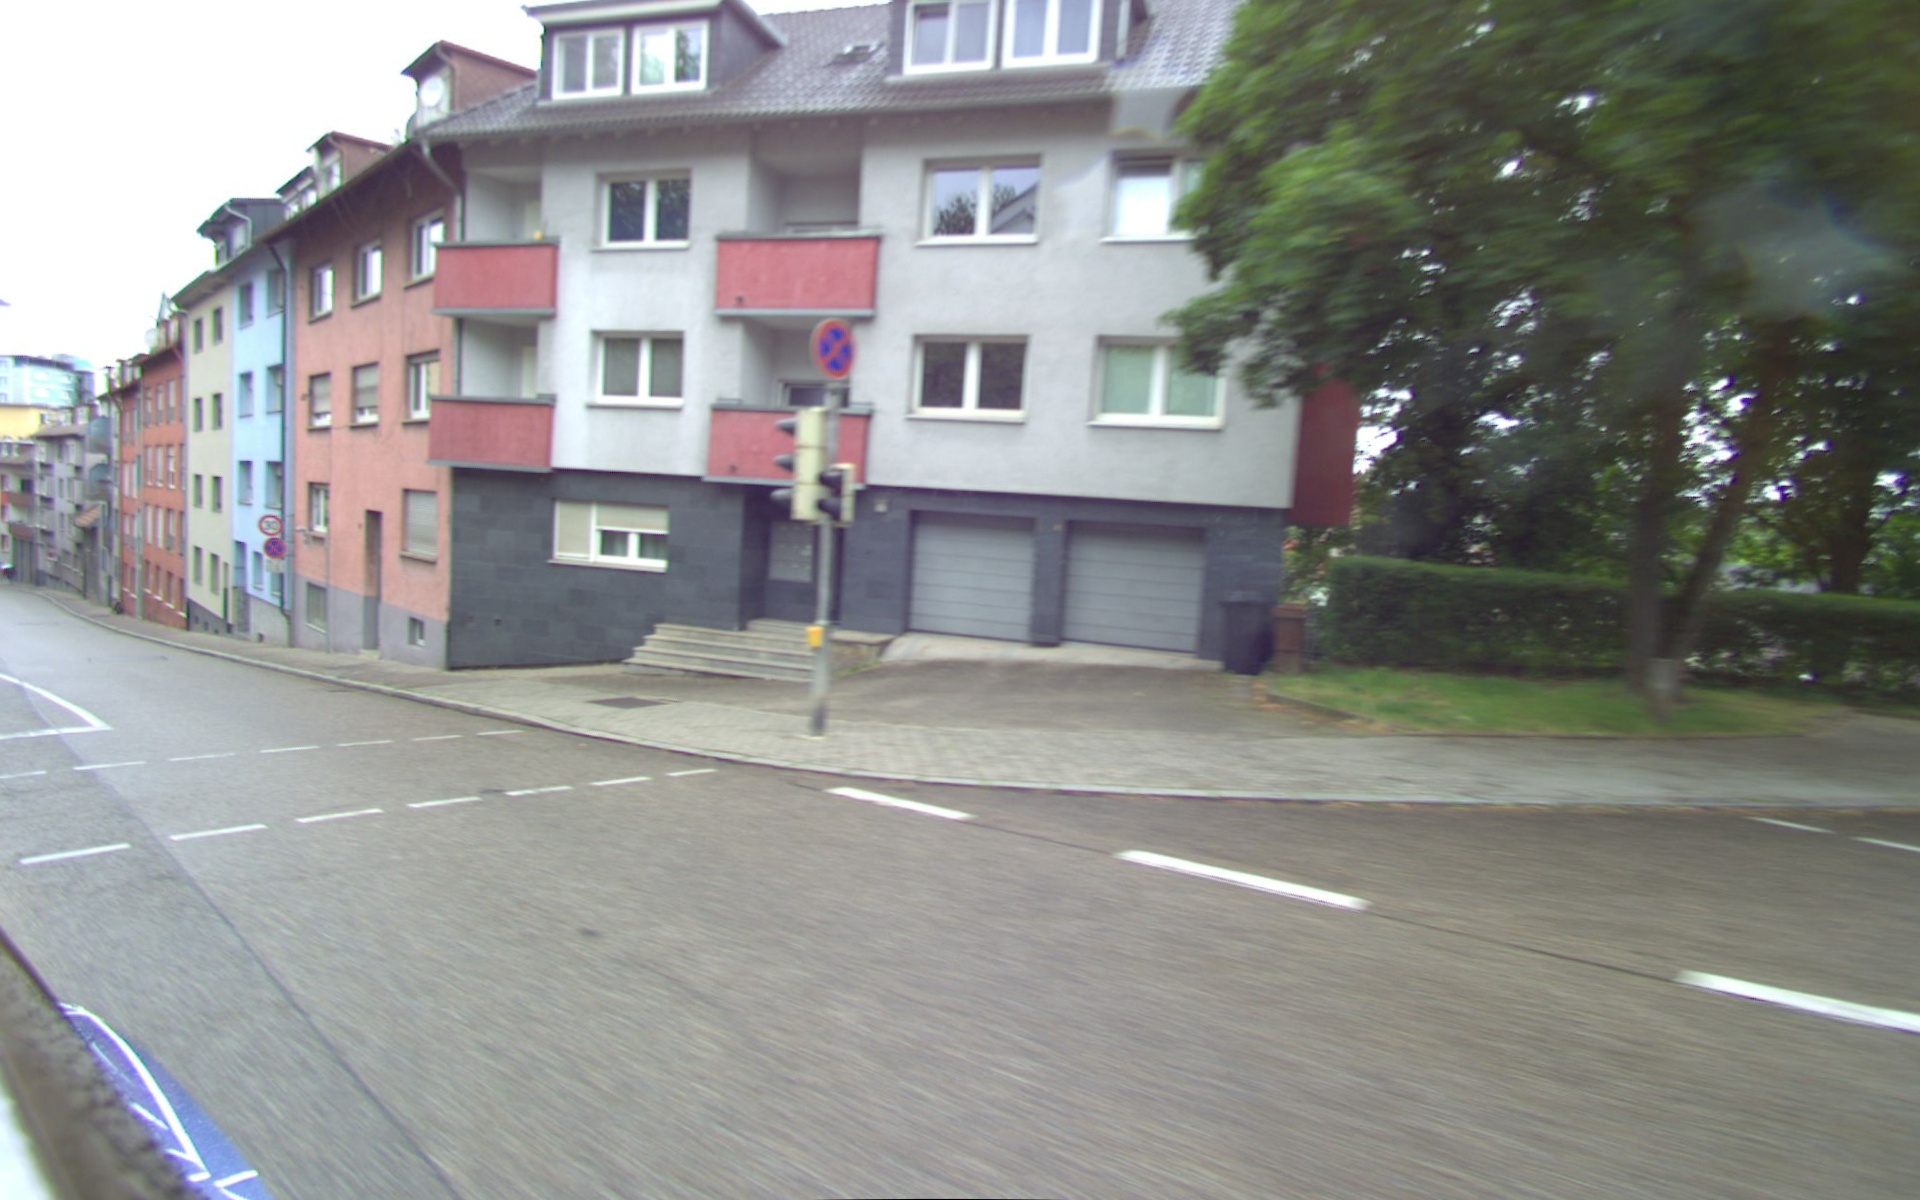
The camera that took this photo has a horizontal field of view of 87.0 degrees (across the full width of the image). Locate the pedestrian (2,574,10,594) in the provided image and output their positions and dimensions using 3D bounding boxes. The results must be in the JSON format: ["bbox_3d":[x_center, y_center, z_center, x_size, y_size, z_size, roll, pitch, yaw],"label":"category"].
[{"bbox_3d":[-84.049,-1.409,89.122,0.499,1.793,0.377,2,3,35],"label":"pedestrian"}]

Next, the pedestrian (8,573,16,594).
[{"bbox_3d":[-83.878,-1.447,89.564,0.499,1.793,0.351,2,3,35],"label":"pedestrian"}]

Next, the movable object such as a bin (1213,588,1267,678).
[{"bbox_3d":[3.945,0.447,14.251,0.683,1.208,0.558,1,3,19],"label":"movable object such as a bin"}]

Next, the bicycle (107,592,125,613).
[{"bbox_3d":[-46.991,0.134,56.317,0.564,1.125,2.041,-4,4,-44],"label":"bicycle"}]

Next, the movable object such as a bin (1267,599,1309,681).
[{"bbox_3d":[4.349,0.512,13.397,0.497,1.023,0.626,1,3,19],"label":"movable object such as a bin"}]

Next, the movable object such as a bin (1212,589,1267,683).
[{"bbox_3d":[3.783,0.475,13.691,0.683,1.208,0.558,1,3,19],"label":"movable object such as a bin"}]

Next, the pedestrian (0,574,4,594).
[{"bbox_3d":[-84.367,-1.415,88.903,0.499,1.793,0.382,2,3,35],"label":"pedestrian"}]
